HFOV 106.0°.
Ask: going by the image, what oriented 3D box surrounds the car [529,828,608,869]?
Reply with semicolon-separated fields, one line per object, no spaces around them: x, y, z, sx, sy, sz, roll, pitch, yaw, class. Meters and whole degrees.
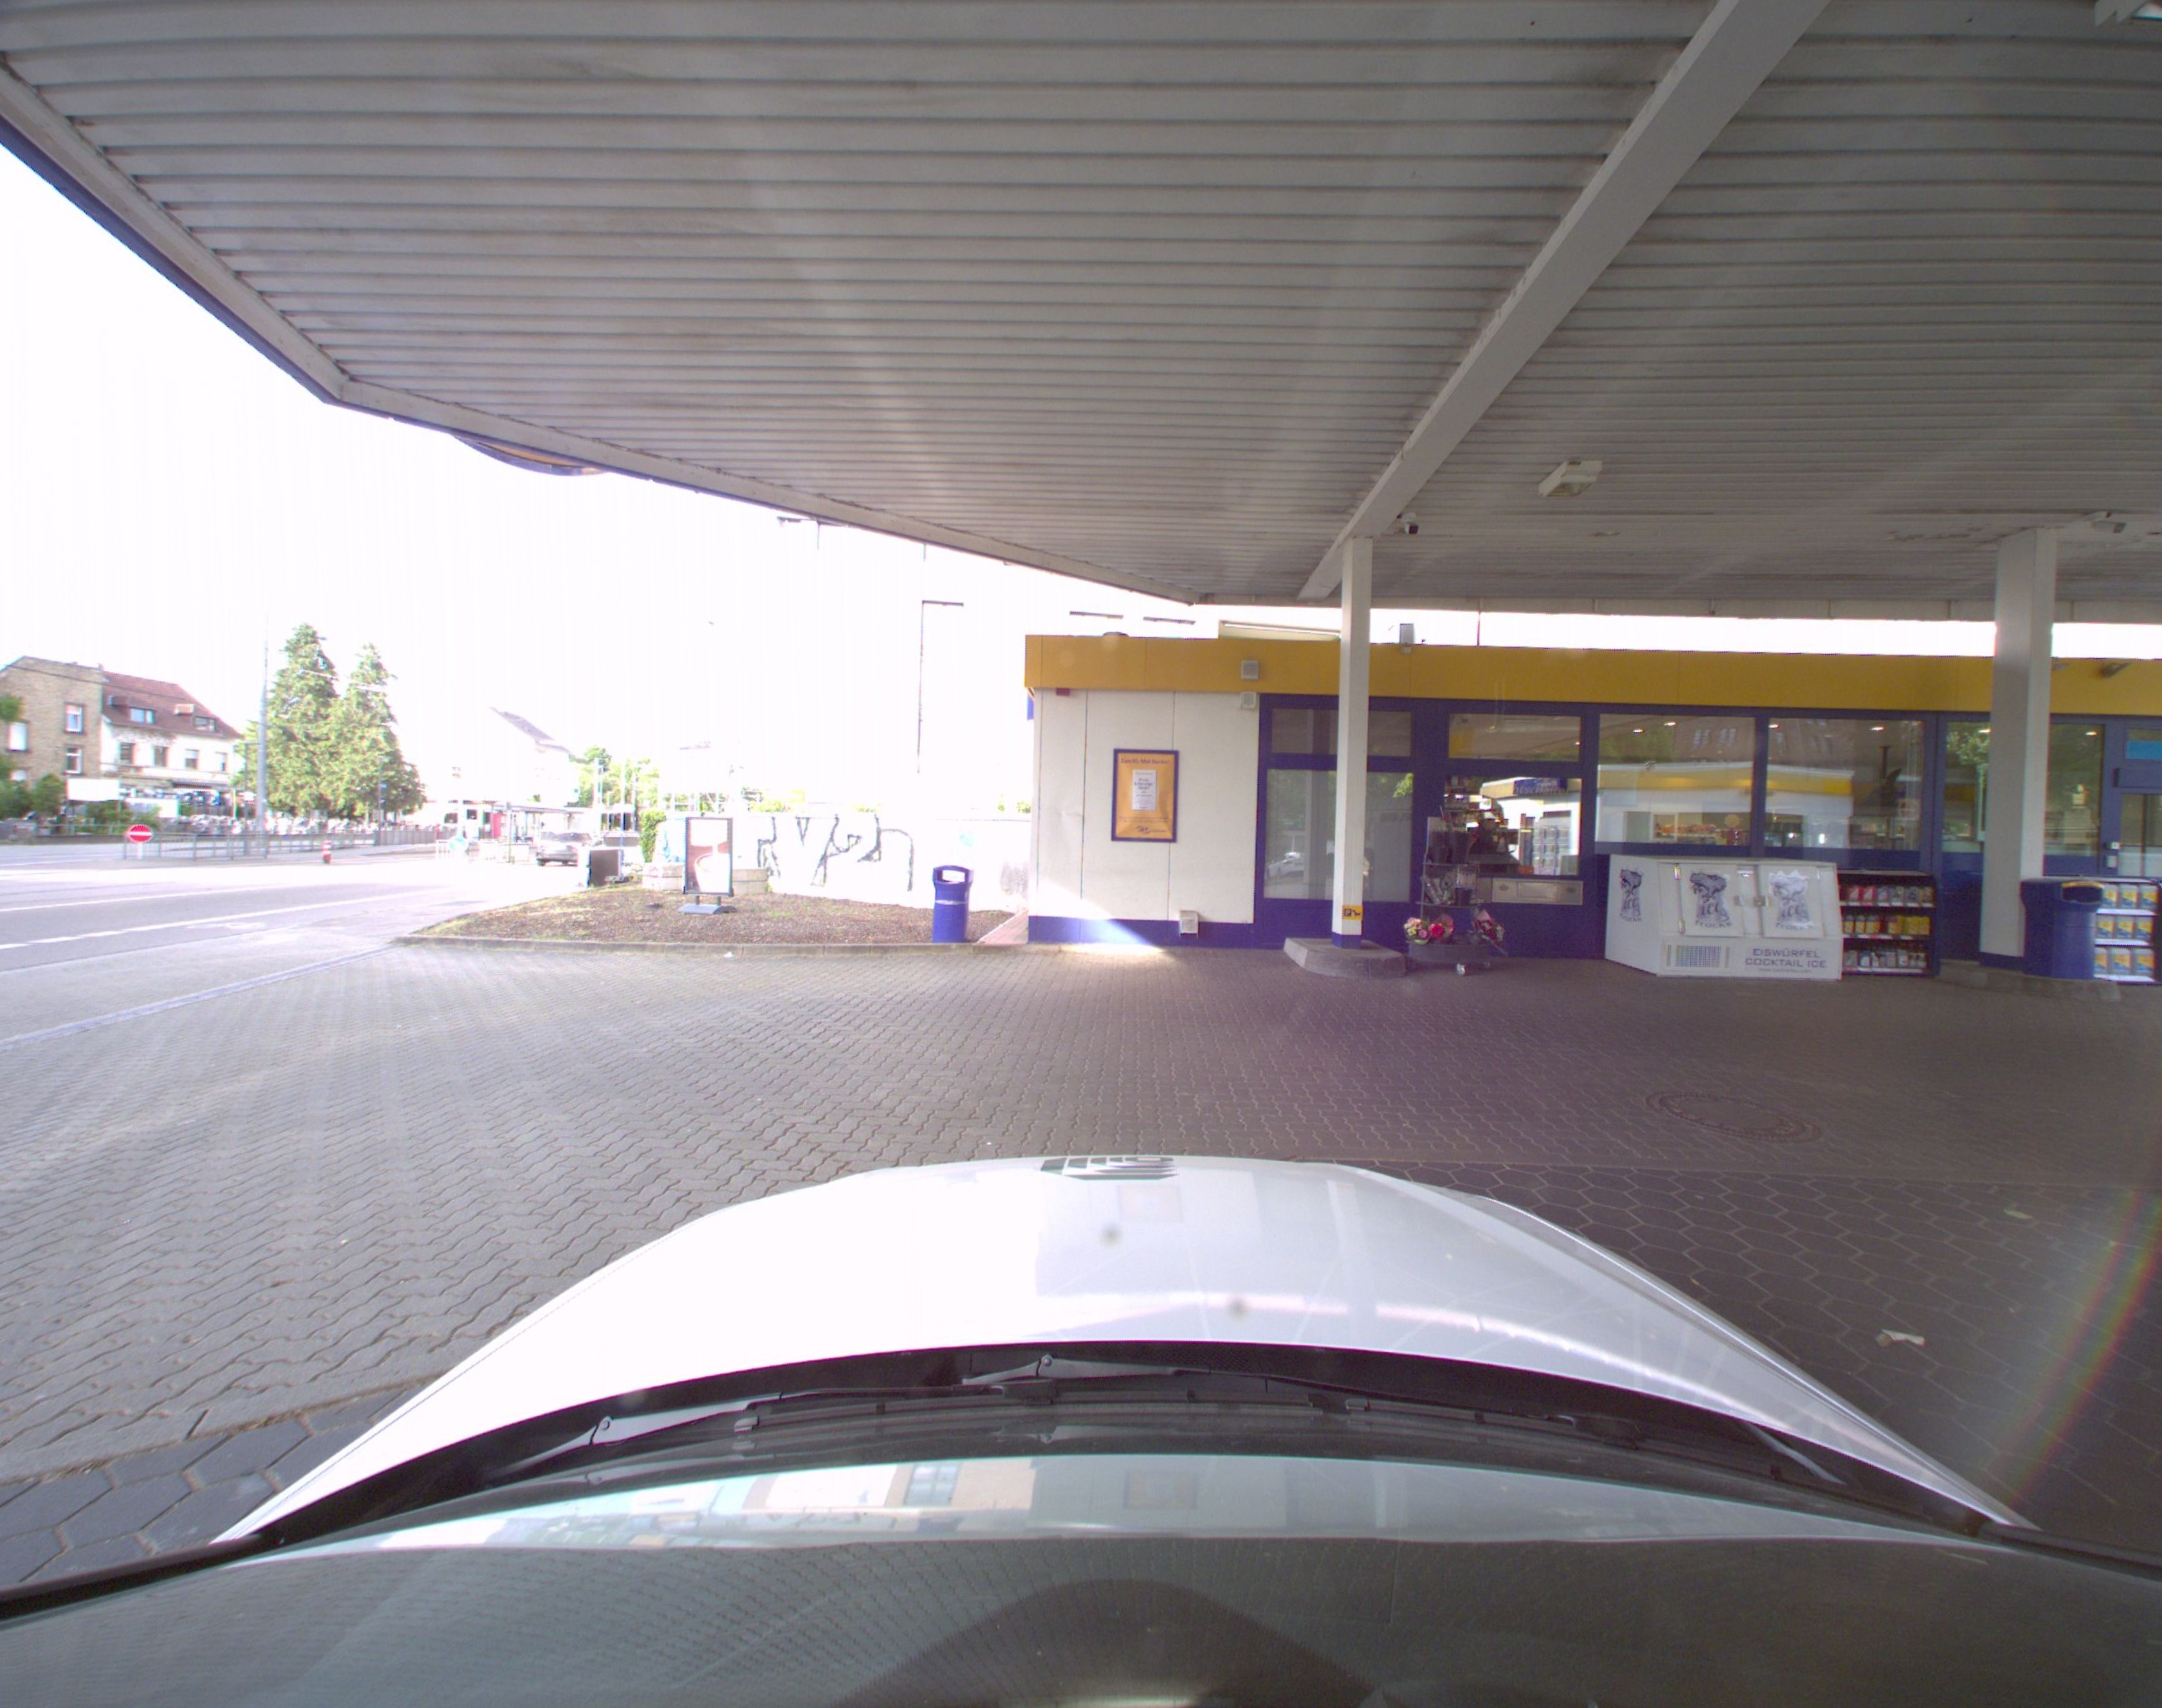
-21.203;-0.244;33.870;1.670;1.547;3.692;2;1;-15;car
